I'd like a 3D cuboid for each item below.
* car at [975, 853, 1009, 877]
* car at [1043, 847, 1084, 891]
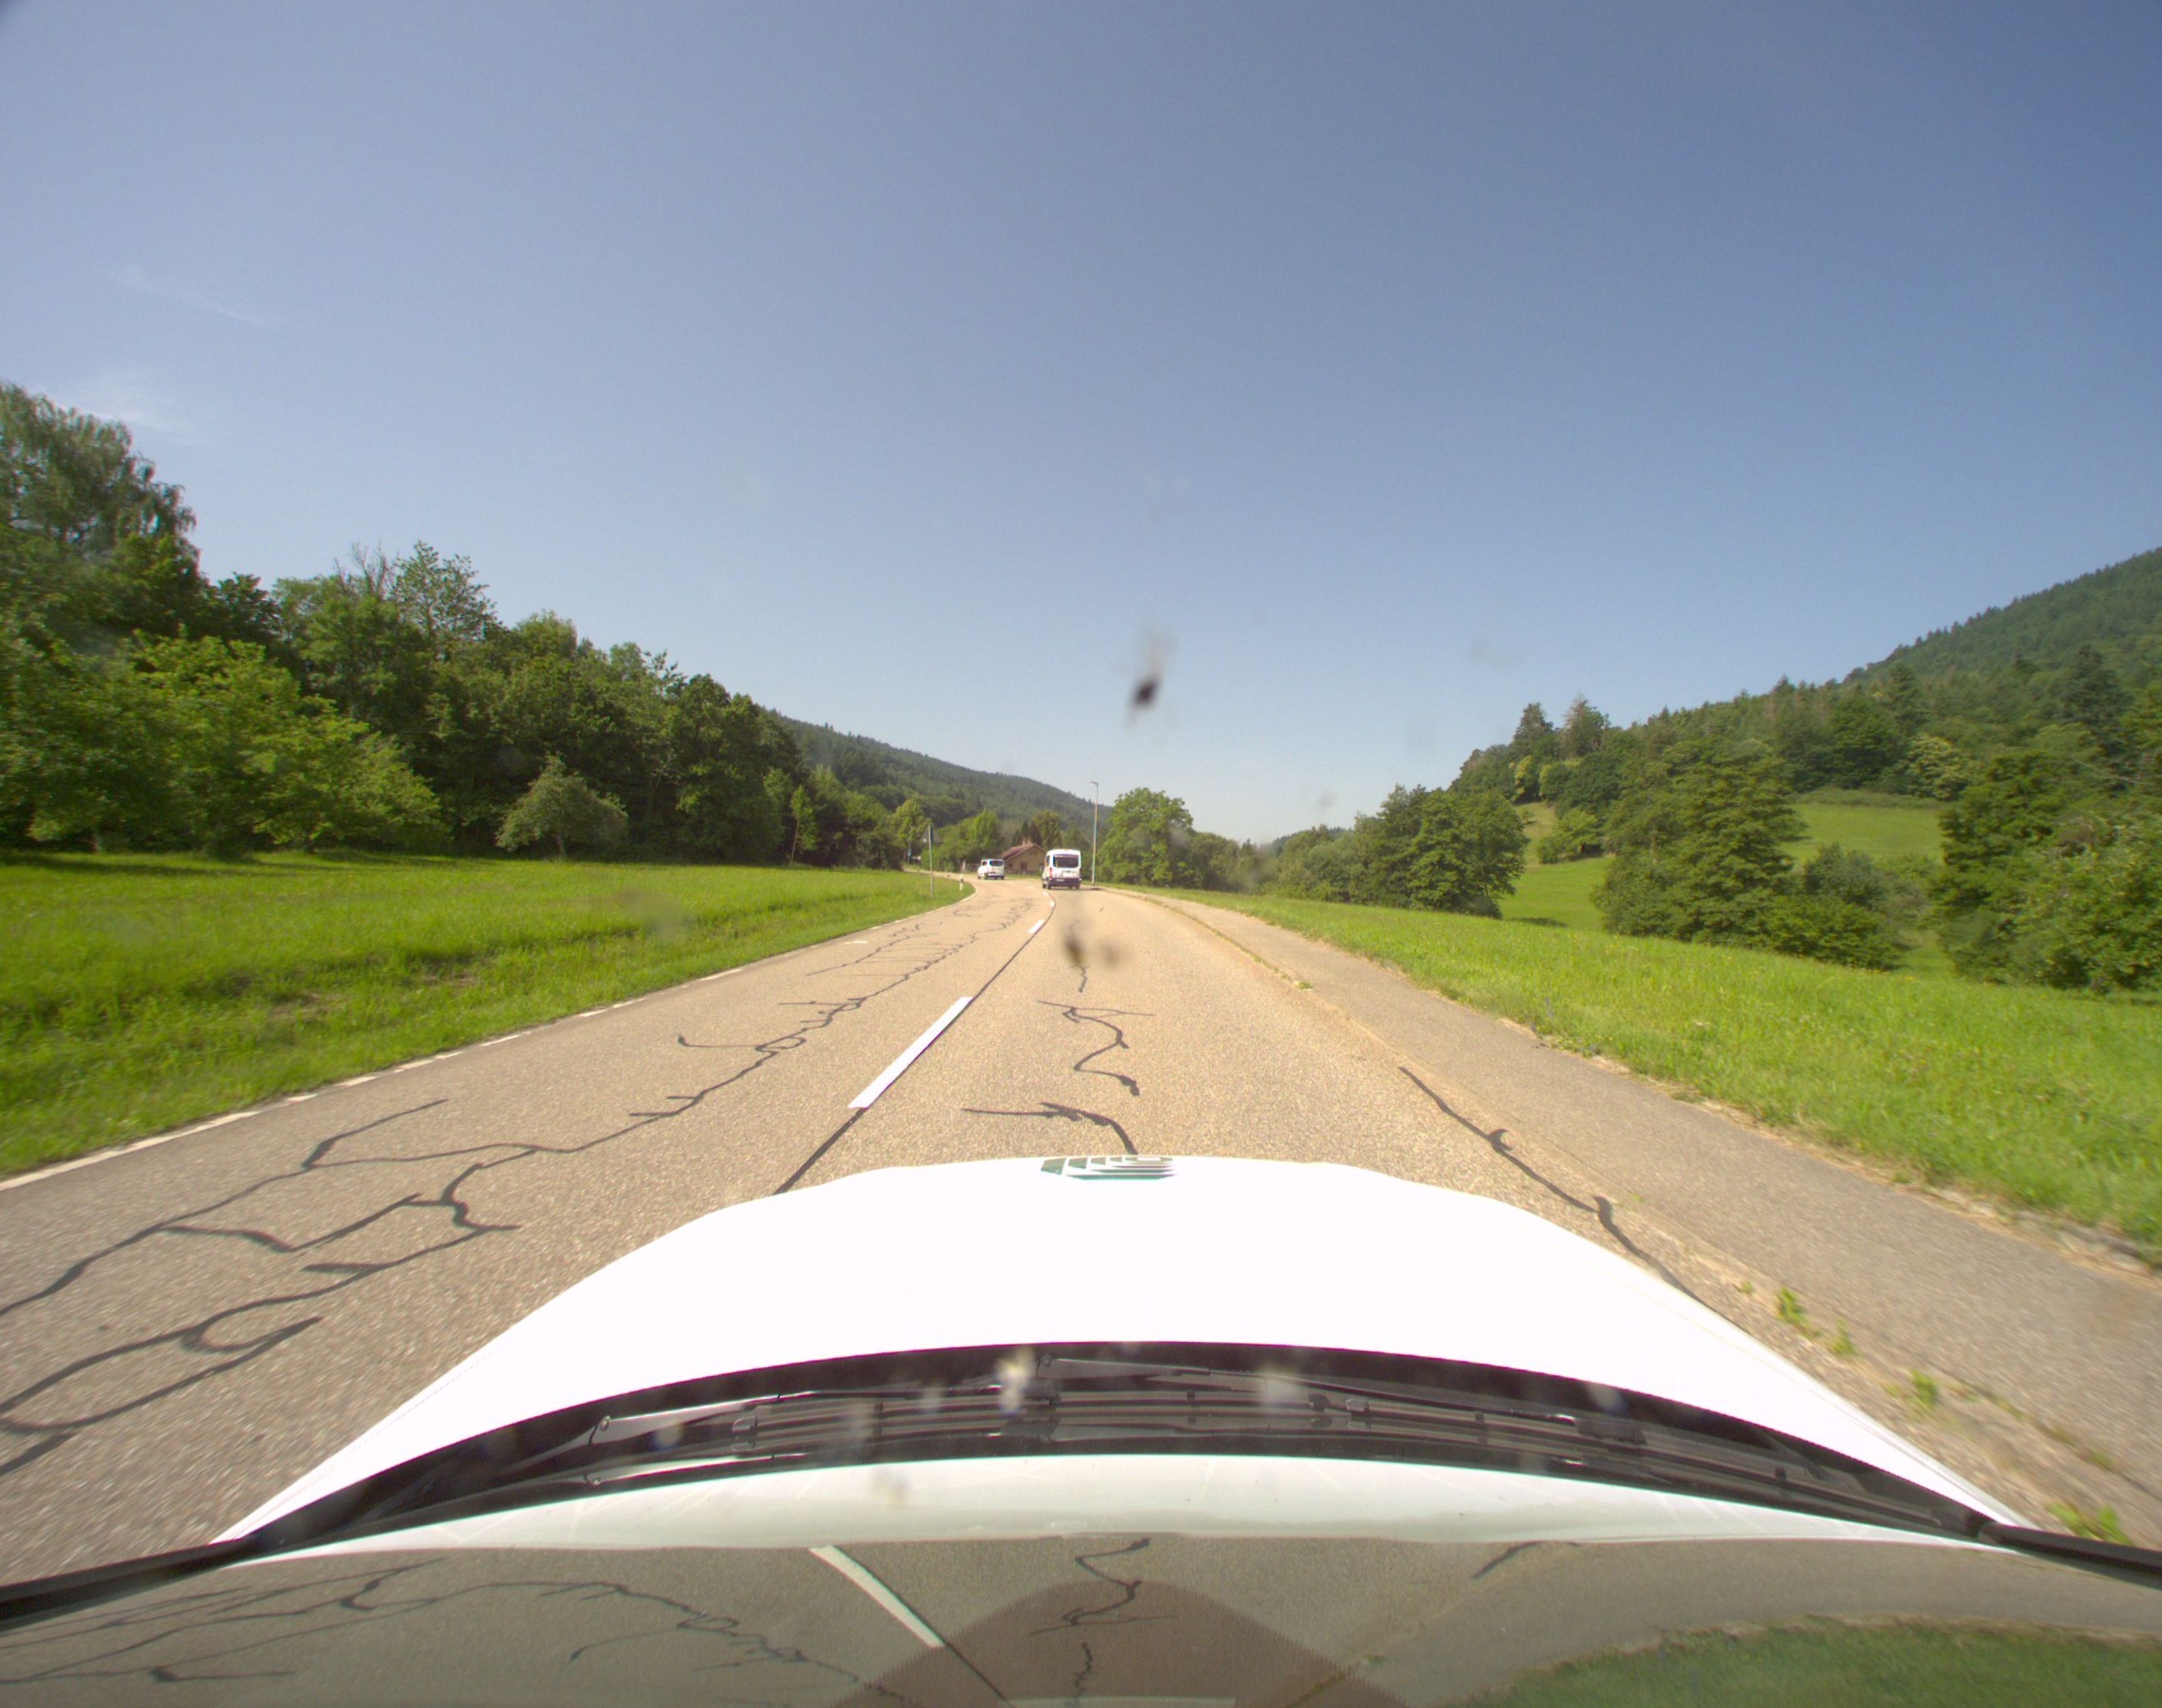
[{"bbox_3d":[-8.934,1.147,81.680,2.230,2.287,4.950,-2,-1,-20],"label":"car"},{"bbox_3d":[-1.160,0.949,51.428,2.219,2.526,4.976,-2,-1,-4],"label":"car"}]
